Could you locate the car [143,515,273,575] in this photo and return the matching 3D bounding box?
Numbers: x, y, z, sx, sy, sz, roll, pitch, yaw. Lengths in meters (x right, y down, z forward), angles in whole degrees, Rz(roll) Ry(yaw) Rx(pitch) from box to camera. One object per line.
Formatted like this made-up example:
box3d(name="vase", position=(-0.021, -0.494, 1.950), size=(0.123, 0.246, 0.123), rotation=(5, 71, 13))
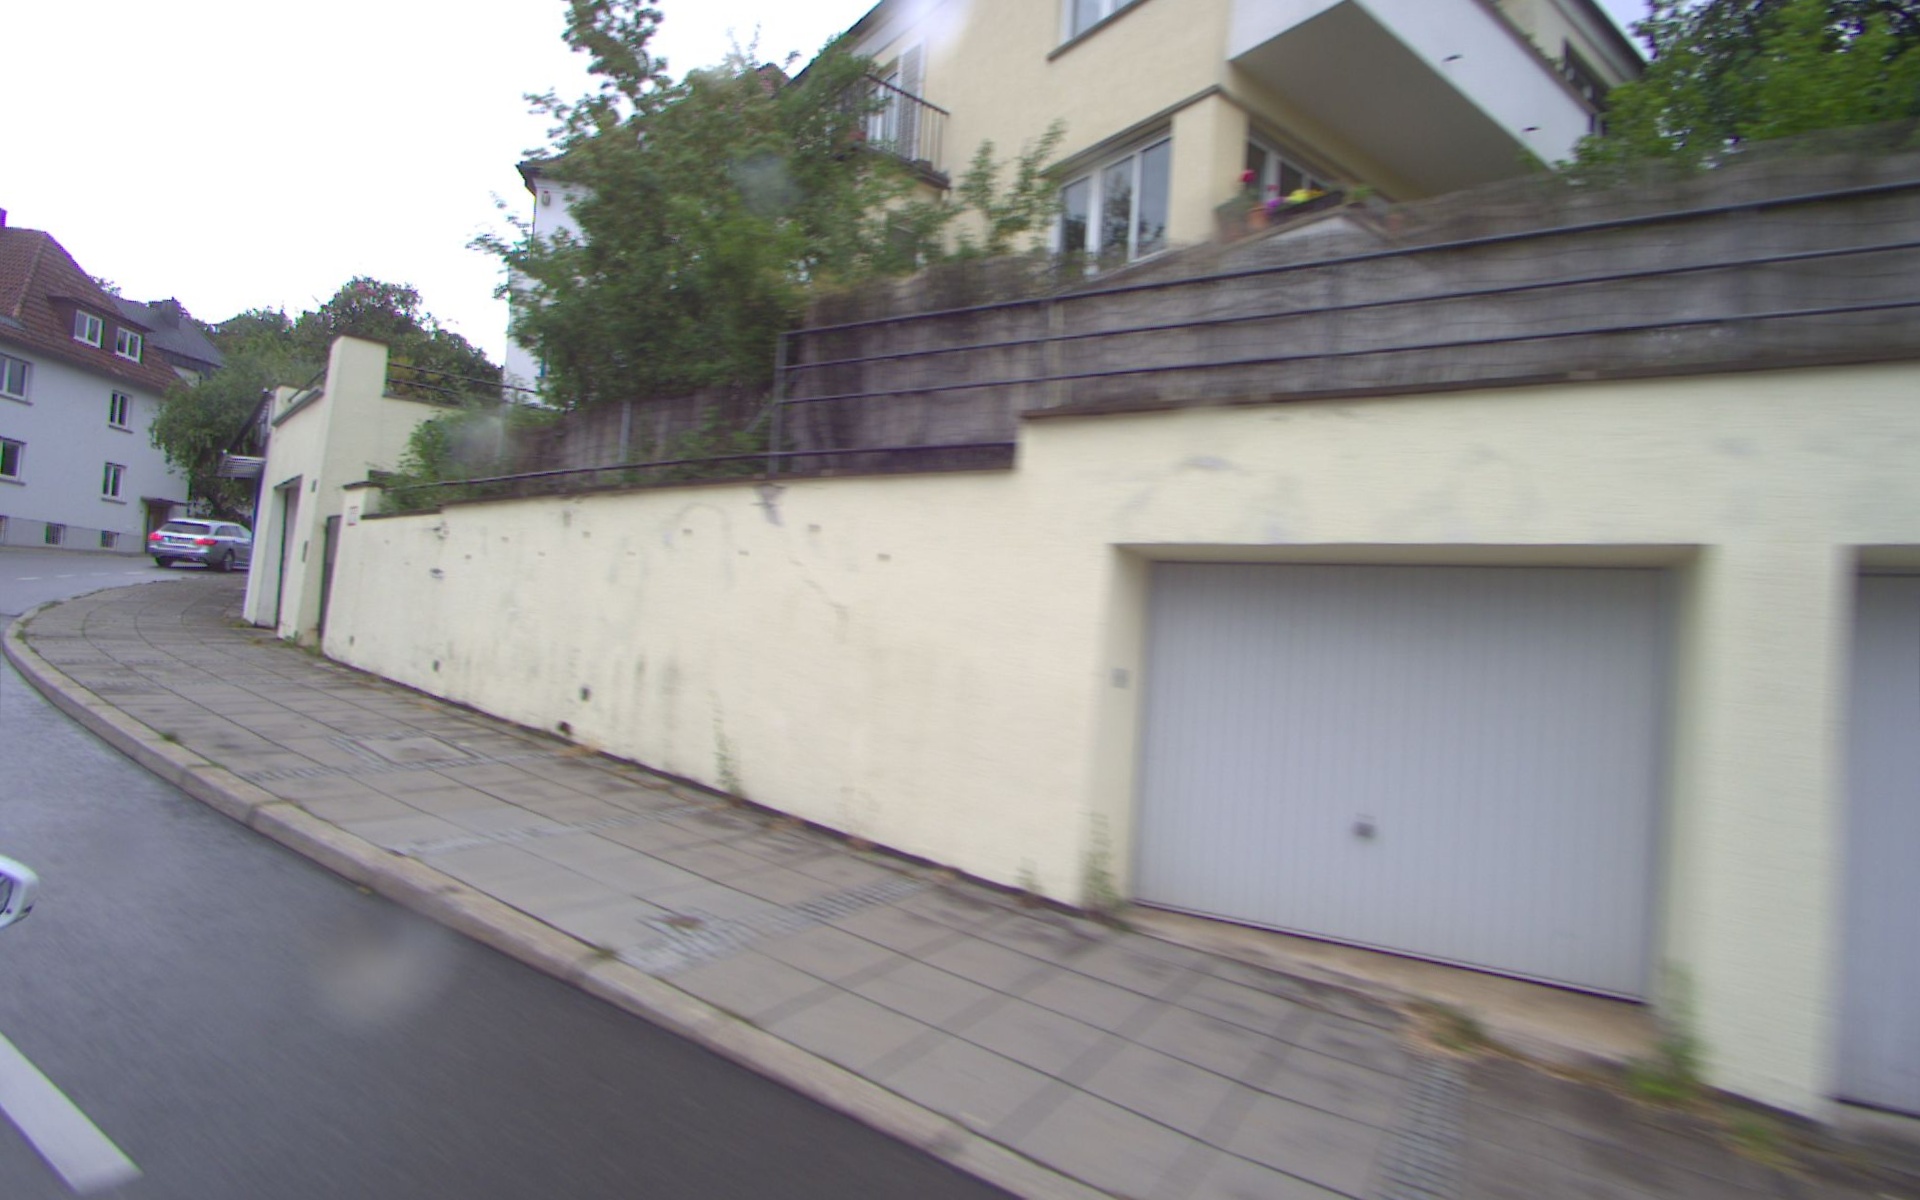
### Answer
box3d(name="car", position=(-22.520, -1.597, 30.319), size=(1.790, 1.377, 3.987), rotation=(7, -1, -17))
